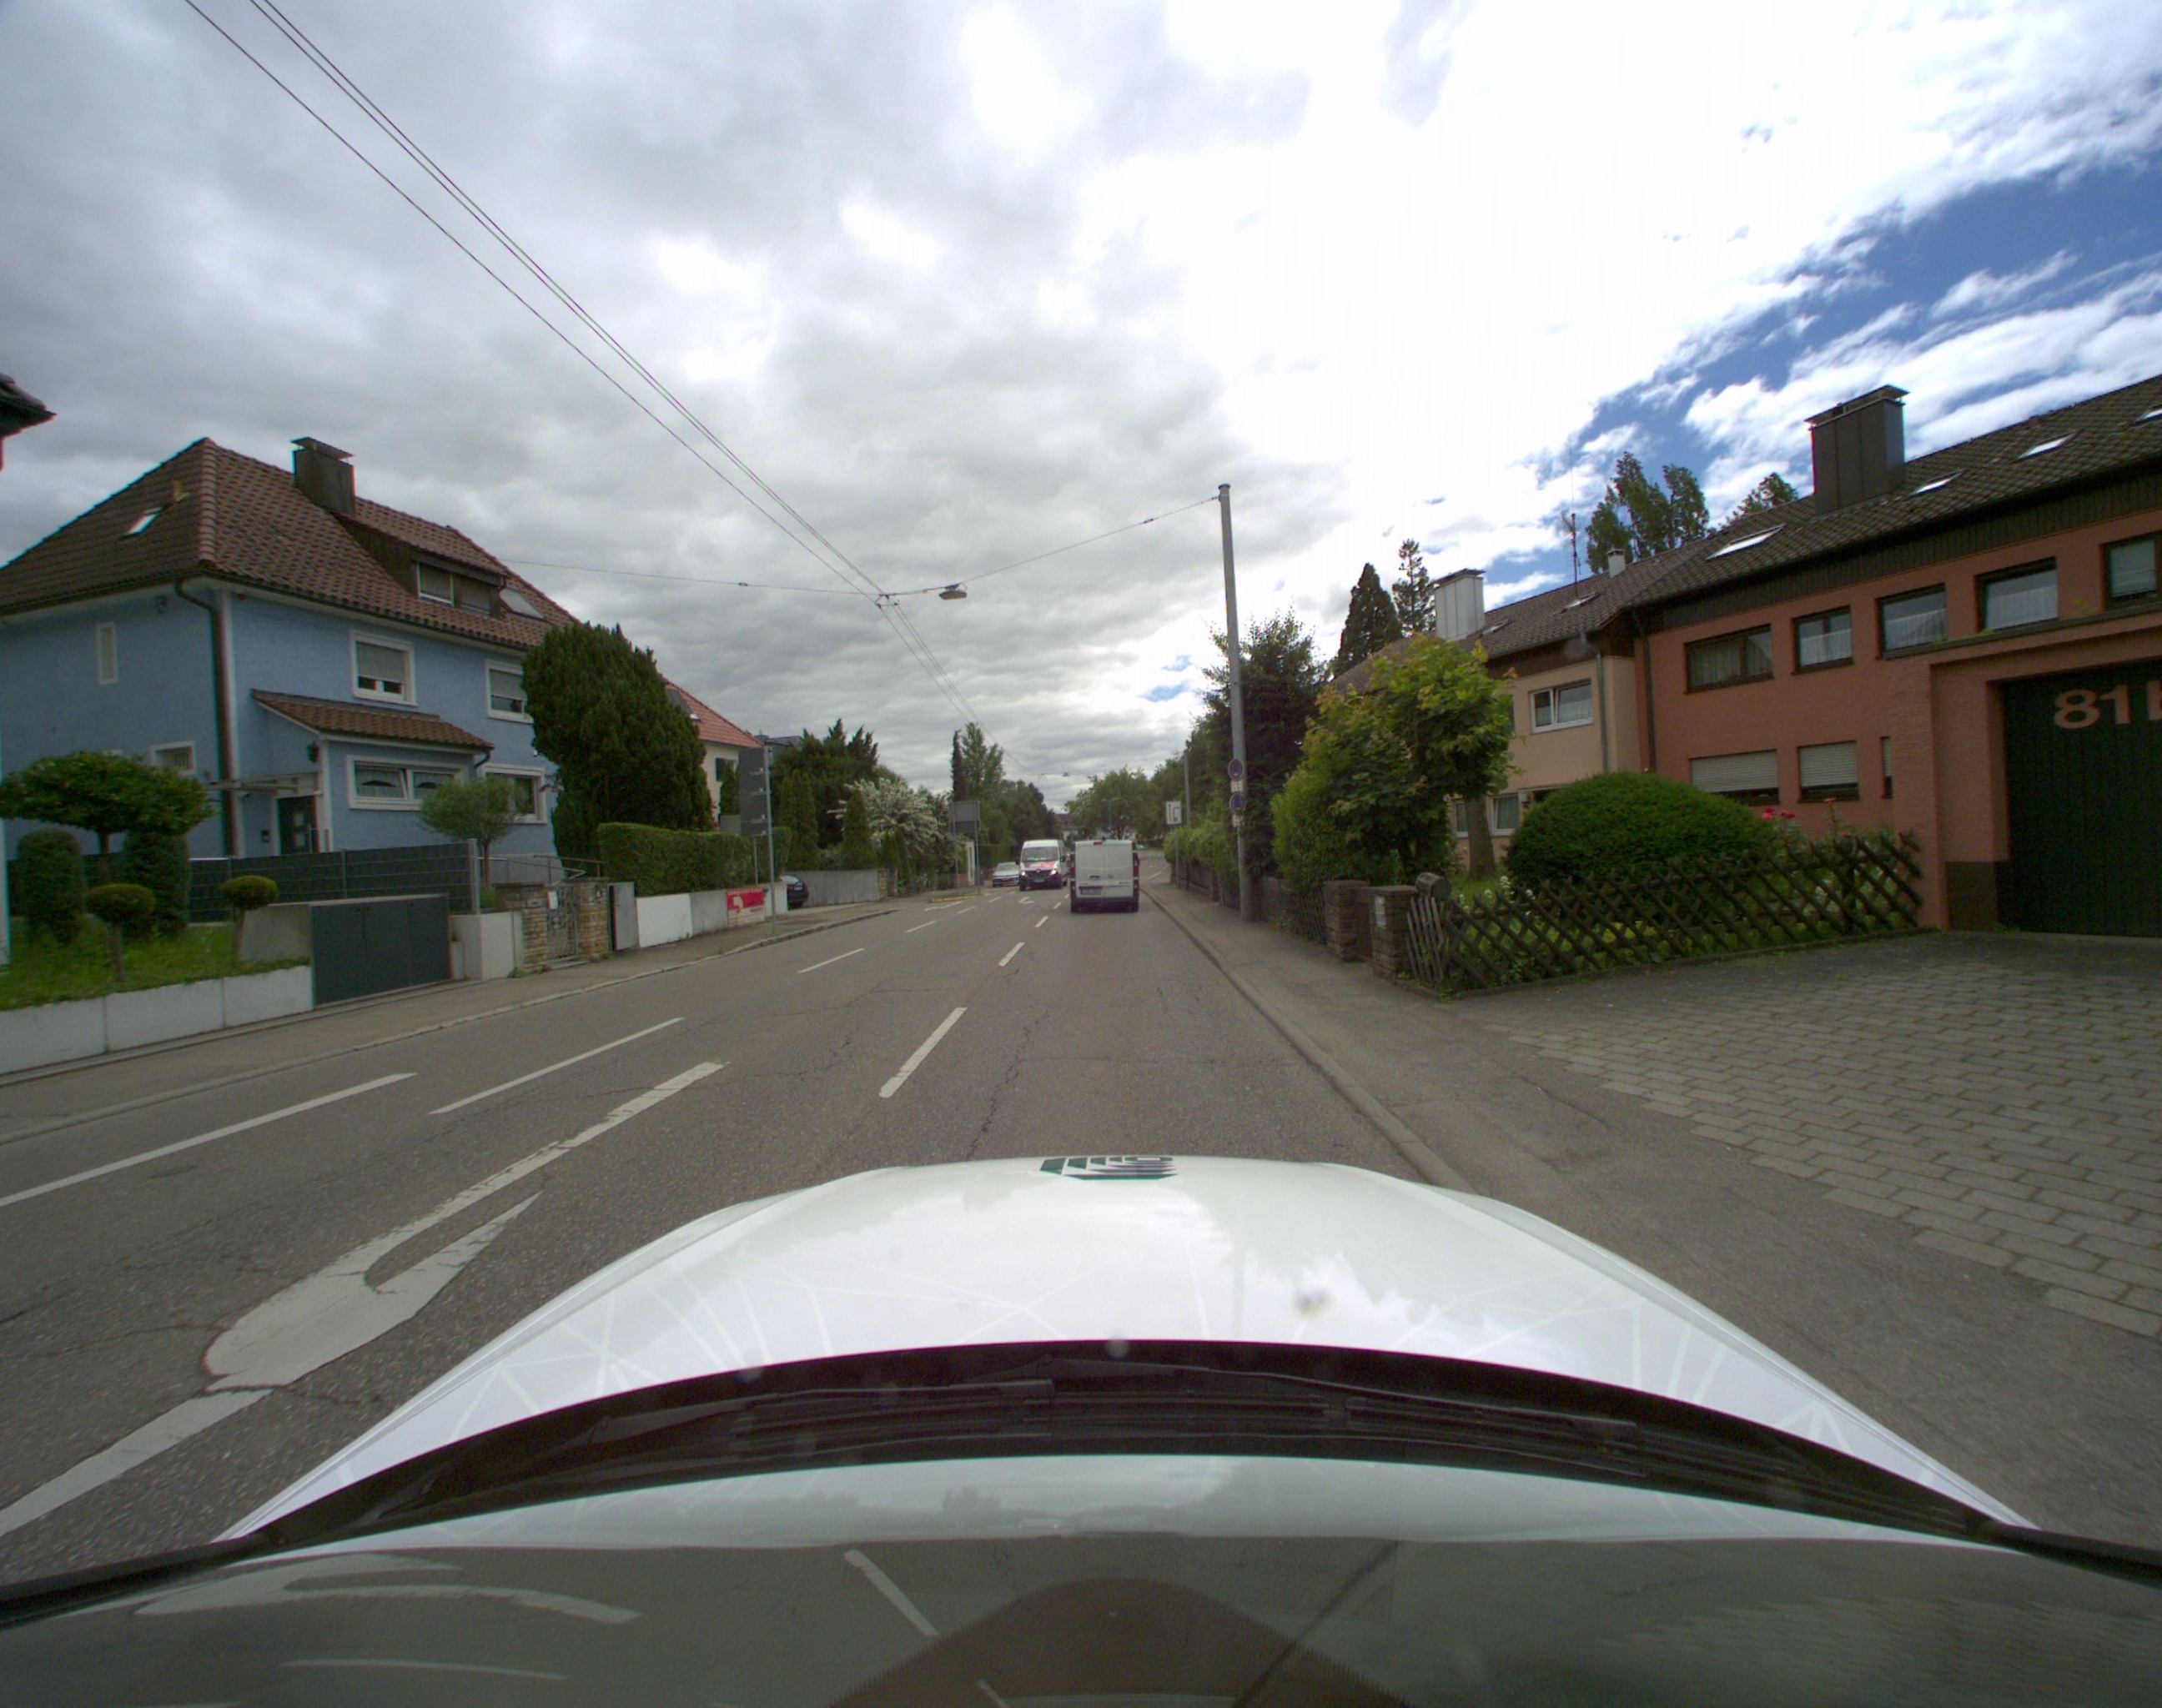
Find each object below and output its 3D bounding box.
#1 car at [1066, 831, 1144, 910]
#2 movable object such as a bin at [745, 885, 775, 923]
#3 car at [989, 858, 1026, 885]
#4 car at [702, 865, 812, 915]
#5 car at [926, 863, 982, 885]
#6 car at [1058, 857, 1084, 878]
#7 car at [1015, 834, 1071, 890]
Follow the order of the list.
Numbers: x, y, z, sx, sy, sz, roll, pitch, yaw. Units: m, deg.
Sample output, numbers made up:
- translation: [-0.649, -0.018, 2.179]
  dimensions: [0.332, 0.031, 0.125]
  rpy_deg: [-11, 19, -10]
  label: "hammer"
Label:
- translation: [0.669, 0.434, 23.654]
  dimensions: [1.999, 2.038, 5.011]
  rpy_deg: [0, 0, 1]
  label: "car"
- translation: [-8.546, 1.327, 21.703]
  dimensions: [0.505, 0.973, 0.541]
  rpy_deg: [-3, -1, 4]
  label: "movable object such as a bin"
- translation: [-4.546, 1.064, 50.929]
  dimensions: [1.803, 1.455, 4.413]
  rpy_deg: [-5, 0, 1]
  label: "car"
- translation: [-12.559, 1.389, 31.635]
  dimensions: [3.561, 1.592, 1.649]
  rpy_deg: [-5, -1, 15]
  label: "car"
- translation: [-9.305, 1.485, 59.672]
  dimensions: [3.565, 1.391, 1.855]
  rpy_deg: [-3, 0, 10]
  label: "car"
- translation: [-0.775, 1.081, 65.761]
  dimensions: [1.727, 1.553, 4.450]
  rpy_deg: [-3, 0, 2]
  label: "car"
- translation: [-1.811, 0.403, 40.658]
  dimensions: [2.103, 2.498, 6.128]
  rpy_deg: [-3, -1, 3]
  label: "car"
